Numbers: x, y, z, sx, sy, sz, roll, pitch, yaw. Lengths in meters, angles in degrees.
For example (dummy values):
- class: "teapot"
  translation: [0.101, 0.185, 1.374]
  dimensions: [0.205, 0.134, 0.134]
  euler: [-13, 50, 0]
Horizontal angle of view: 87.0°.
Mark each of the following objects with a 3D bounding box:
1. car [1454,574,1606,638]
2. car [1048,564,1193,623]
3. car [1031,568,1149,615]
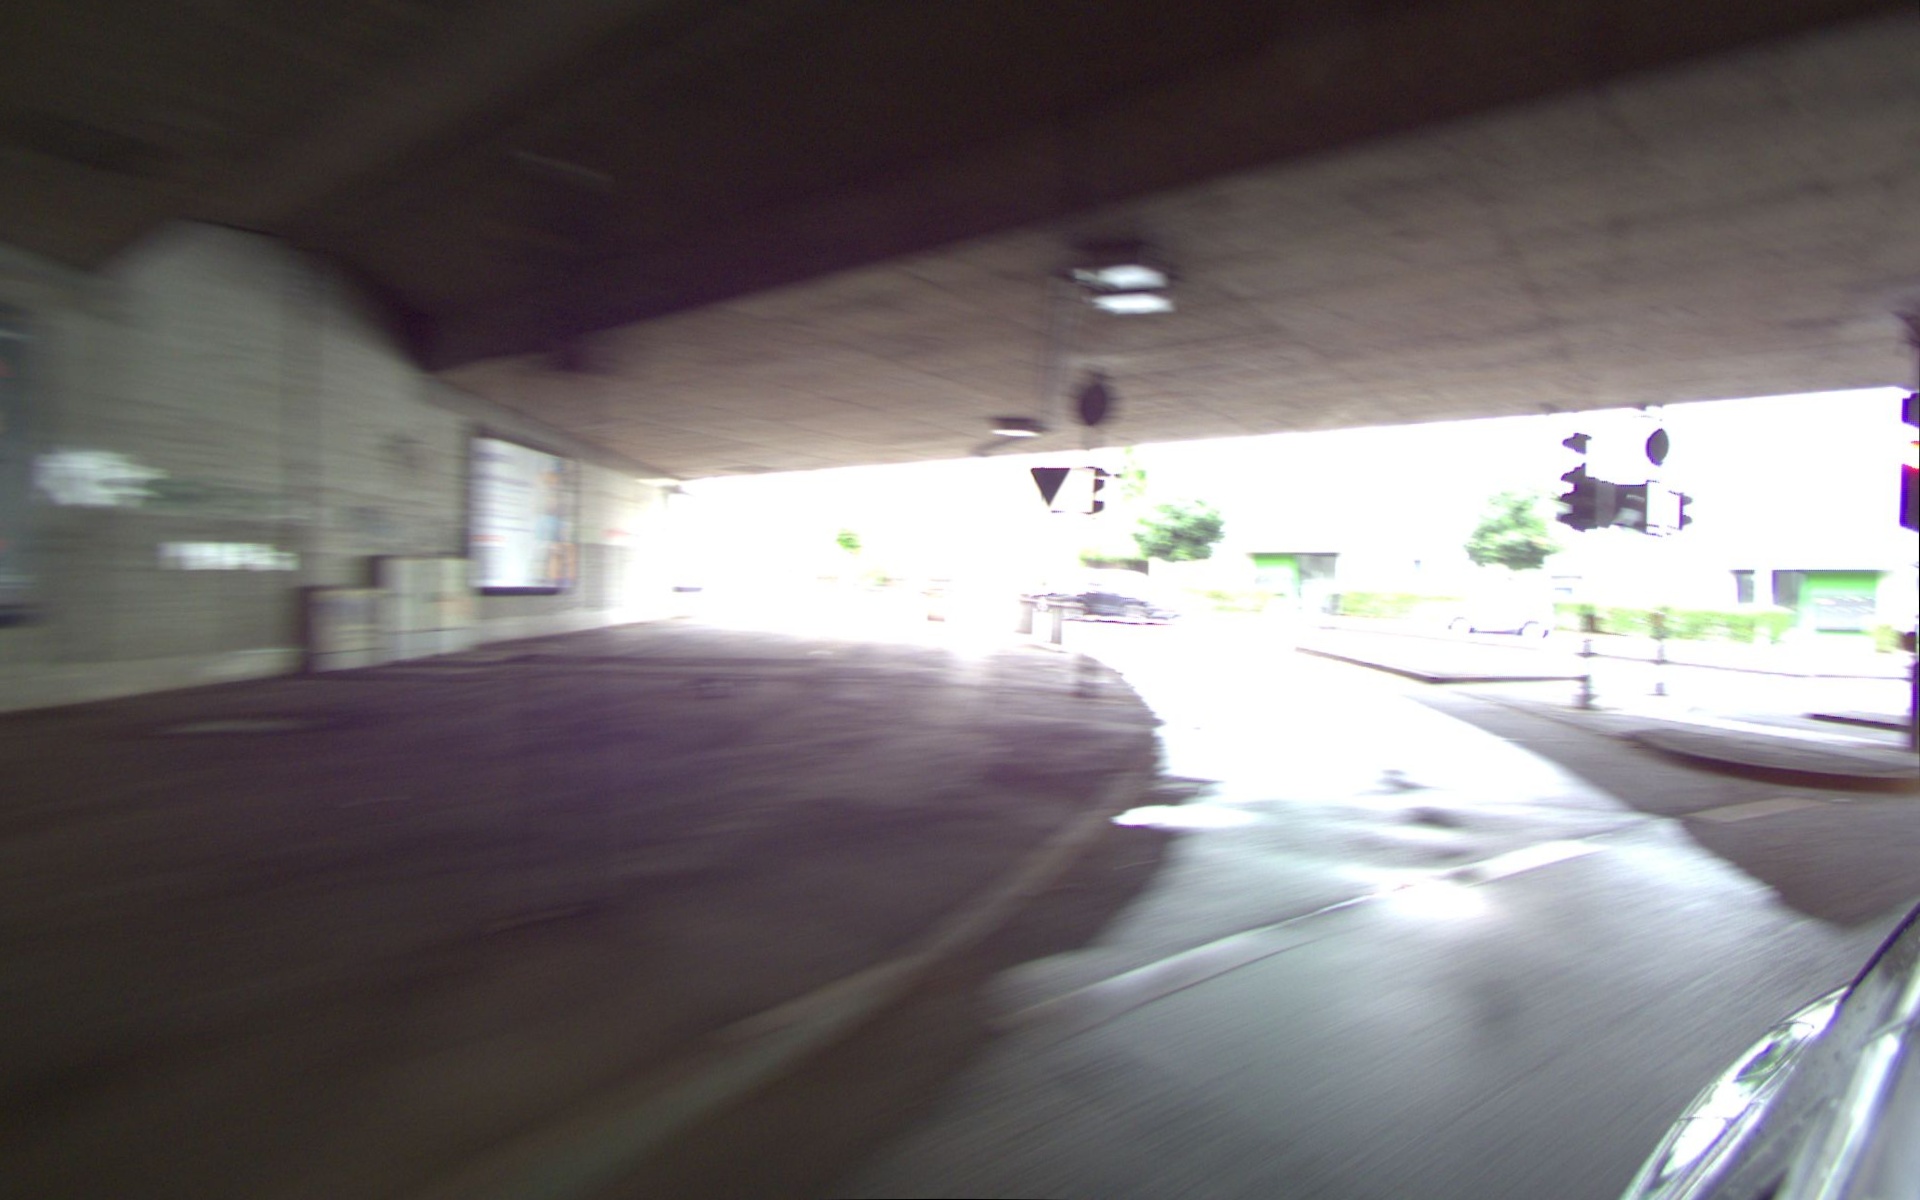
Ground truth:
- class: "car"
  translation: [16.269, 0.153, 28.941]
  dimensions: [3.606, 1.577, 1.624]
  euler: [3, 1, 35]
- class: "car"
  translation: [4.826, -0.259, 30.874]
  dimensions: [1.740, 1.599, 4.226]
  euler: [-2, 4, -43]
- class: "car"
  translation: [4.776, -0.333, 37.275]
  dimensions: [3.966, 1.476, 1.628]
  euler: [4, 0, 30]
